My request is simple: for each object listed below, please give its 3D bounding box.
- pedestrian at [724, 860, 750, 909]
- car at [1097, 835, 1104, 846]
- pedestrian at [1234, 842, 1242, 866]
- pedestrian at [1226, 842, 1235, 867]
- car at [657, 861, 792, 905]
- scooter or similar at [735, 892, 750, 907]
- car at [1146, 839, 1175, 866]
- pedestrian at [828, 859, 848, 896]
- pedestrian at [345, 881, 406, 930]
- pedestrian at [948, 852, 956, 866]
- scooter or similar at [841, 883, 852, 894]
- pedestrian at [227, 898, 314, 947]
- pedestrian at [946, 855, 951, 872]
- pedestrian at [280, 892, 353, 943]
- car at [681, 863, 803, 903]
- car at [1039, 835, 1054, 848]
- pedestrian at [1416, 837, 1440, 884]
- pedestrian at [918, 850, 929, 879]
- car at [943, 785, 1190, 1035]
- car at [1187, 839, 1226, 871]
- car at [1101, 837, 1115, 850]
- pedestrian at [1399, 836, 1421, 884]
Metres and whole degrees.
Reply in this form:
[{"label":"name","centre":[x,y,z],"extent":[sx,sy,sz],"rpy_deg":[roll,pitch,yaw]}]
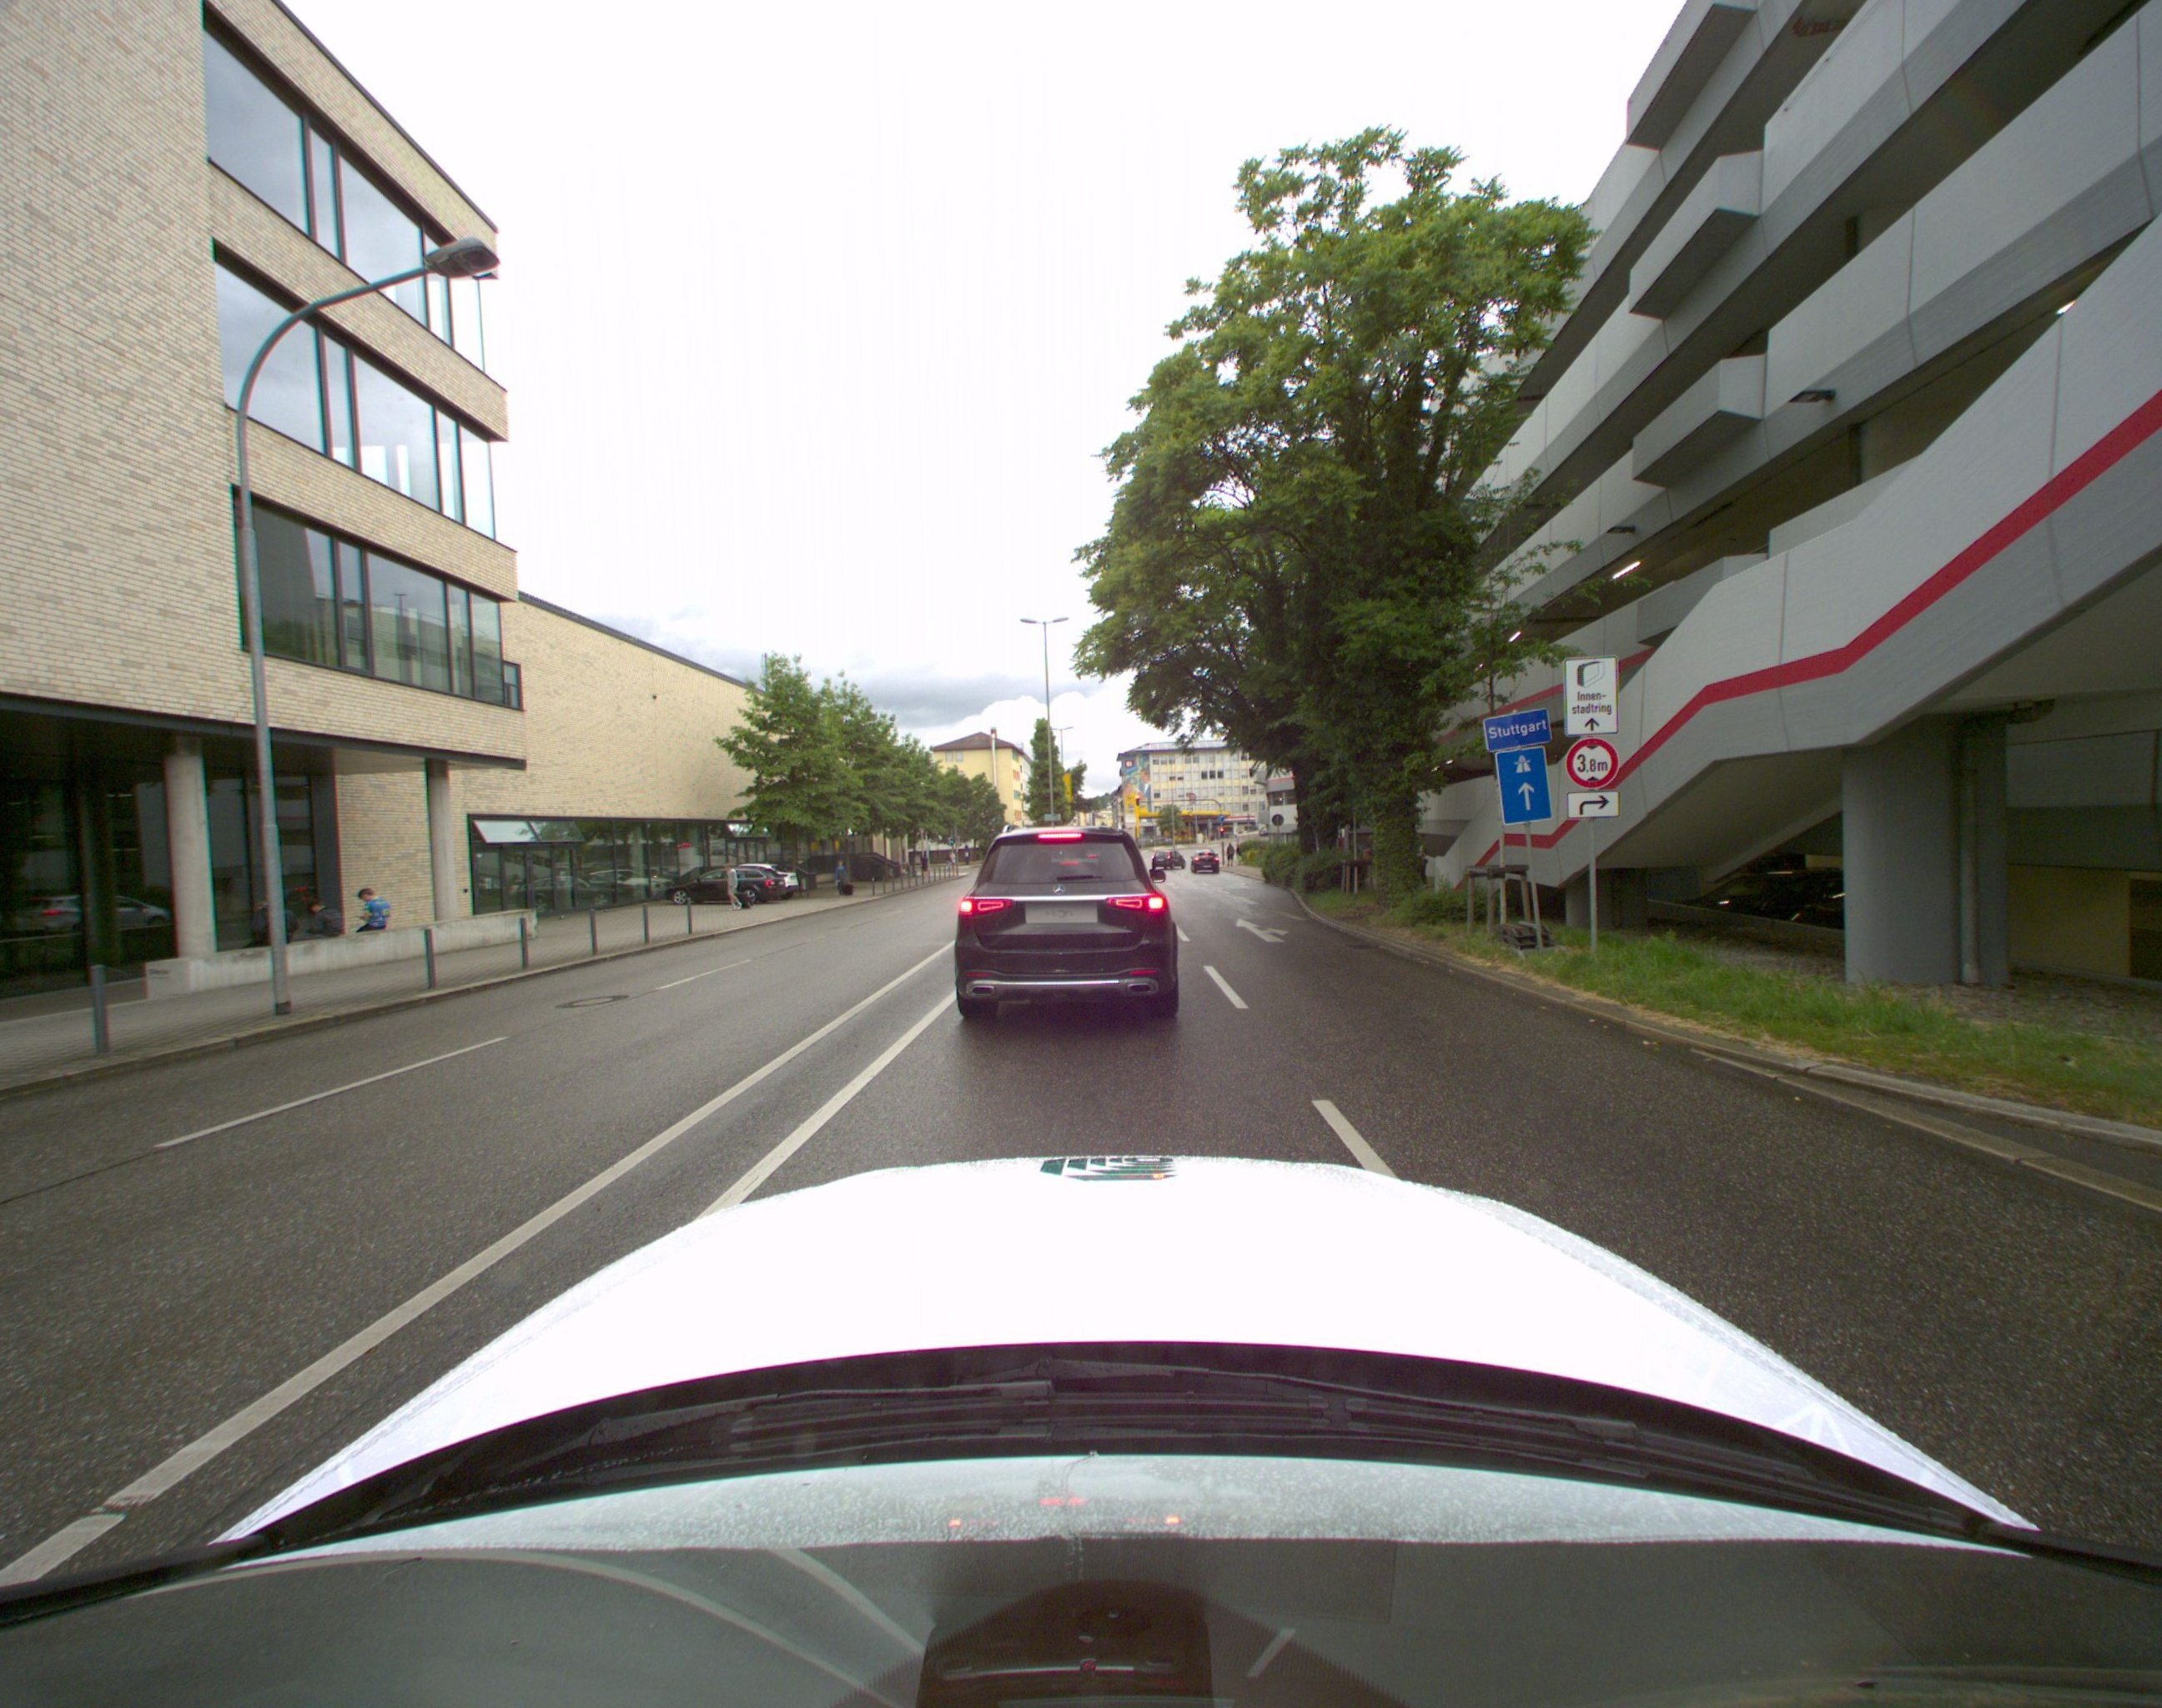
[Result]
[{"label":"pedestrian","centre":[-12.125,1.066,28.704],"extent":[0.673,1.697,0.479],"rpy_deg":[0,-1,1]},{"label":"car","centre":[6.009,-4.144,251.869],"extent":[1.987,2.007,4.013],"rpy_deg":[0,23,0]},{"label":"pedestrian","centre":[12.598,-0.034,65.359],"extent":[0.518,1.911,0.556],"rpy_deg":[0,-1,1]},{"label":"pedestrian","centre":[11.755,0.019,64.239],"extent":[0.617,1.935,0.611],"rpy_deg":[0,-1,3]},{"label":"car","centre":[-14.176,1.136,32.608],"extent":[4.461,1.587,1.997],"rpy_deg":[-1,0,-5]},{"label":"scooter or similar","centre":[-12.099,1.639,29.117],"extent":[0.279,0.501,0.616],"rpy_deg":[0,-1,2]},{"label":"car","centre":[6.065,-0.082,62.612],"extent":[1.986,2.014,4.002],"rpy_deg":[0,-1,2]},{"label":"pedestrian","centre":[-11.494,1.103,38.519],"extent":[0.686,1.726,0.754],"rpy_deg":[0,-3,0]},{"label":"pedestrian","centre":[-13.482,0.977,15.575],"extent":[0.680,0.886,0.523],"rpy_deg":[0,-1,-5]},{"label":"pedestrian","centre":[-13.371,0.512,84.539],"extent":[0.709,1.462,0.598],"rpy_deg":[0,-1,0]},{"label":"scooter or similar","centre":[-11.333,1.666,39.357],"extent":[0.358,0.536,0.499],"rpy_deg":[0,-2,1]},{"label":"pedestrian","centre":[-13.515,1.156,13.599],"extent":[0.595,0.786,0.760],"rpy_deg":[0,-7,1]},{"label":"pedestrian","centre":[-12.884,0.888,79.346],"extent":[0.398,1.644,0.567],"rpy_deg":[0,-1,2]},{"label":"pedestrian","centre":[-13.538,1.109,14.432],"extent":[0.584,0.845,0.727],"rpy_deg":[-1,-1,1]},{"label":"car","centre":[-14.614,1.233,35.347],"extent":[4.407,1.573,1.998],"rpy_deg":[-1,1,-4]},{"label":"car","centre":[-5.154,-1.816,121.712],"extent":[1.987,1.875,5.141],"rpy_deg":[0,-1,0]},{"label":"pedestrian","centre":[11.190,0.210,26.277],"extent":[0.579,1.501,0.505],"rpy_deg":[0,-1,7]},{"label":"pedestrian","centre":[-11.084,0.748,57.315],"extent":[0.586,2.013,0.749],"rpy_deg":[3,0,0]},{"label":"car","centre":[-0.099,0.470,8.588],"extent":[1.987,2.014,4.000],"rpy_deg":[0,-1,0]},{"label":"car","centre":[8.356,0.039,54.589],"extent":[1.987,2.013,3.999],"rpy_deg":[-1,0,0]},{"label":"car","centre":[4.303,-1.679,129.362],"extent":[1.988,2.014,3.998],"rpy_deg":[0,-1,-1]},{"label":"pedestrian","centre":[10.611,0.207,26.269],"extent":[0.548,1.532,0.489],"rpy_deg":[0,-1,8]}]
